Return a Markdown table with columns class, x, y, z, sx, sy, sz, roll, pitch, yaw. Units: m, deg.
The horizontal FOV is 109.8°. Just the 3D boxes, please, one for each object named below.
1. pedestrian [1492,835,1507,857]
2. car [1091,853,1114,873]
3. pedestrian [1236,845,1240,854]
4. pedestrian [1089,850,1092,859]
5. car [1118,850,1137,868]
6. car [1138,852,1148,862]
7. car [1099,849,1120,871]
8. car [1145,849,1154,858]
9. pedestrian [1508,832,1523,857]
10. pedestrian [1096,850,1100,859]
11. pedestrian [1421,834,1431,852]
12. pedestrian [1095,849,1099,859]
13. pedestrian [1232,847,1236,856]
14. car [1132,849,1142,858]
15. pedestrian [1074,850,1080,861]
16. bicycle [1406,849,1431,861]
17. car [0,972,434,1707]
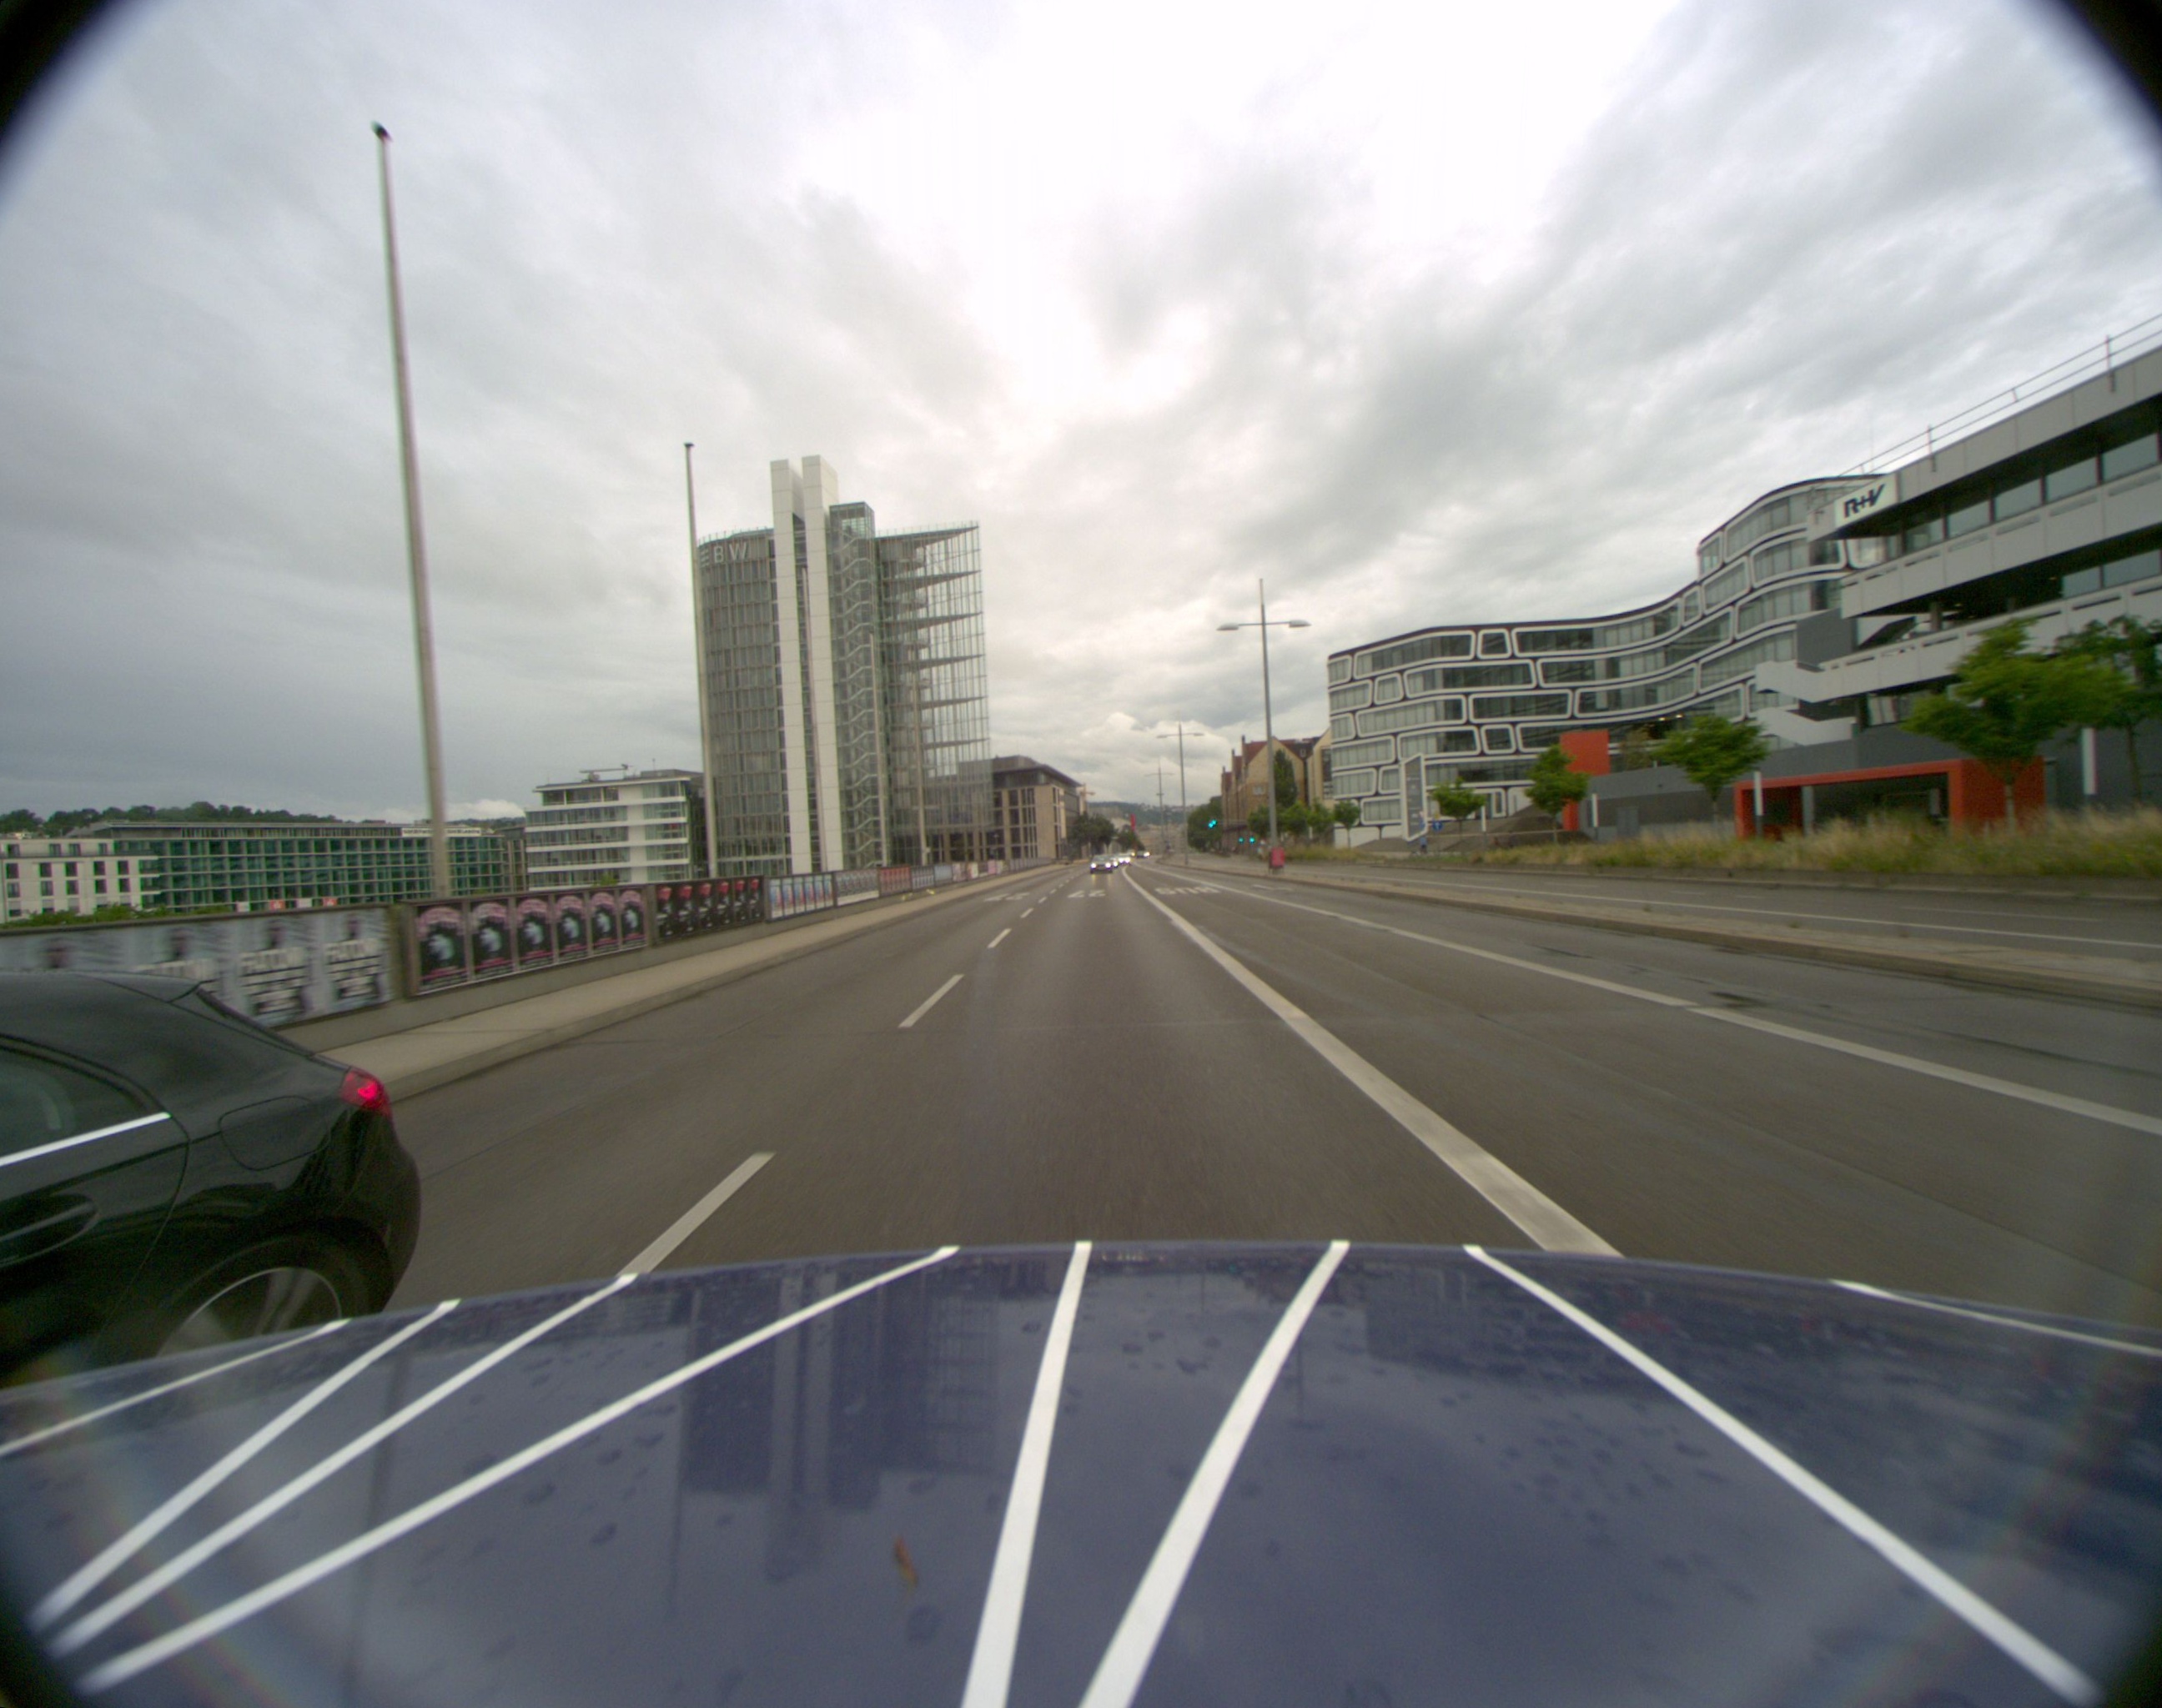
| class | x | y | z | sx | sy | sz | roll | pitch | yaw |
| --- | --- | --- | --- | --- | --- | --- | --- | --- | --- |
| pedestrian | 28.730 | -0.547 | 52.172 | 0.619 | 1.438 | 0.798 | -2 | 1 | 3 |
| car | 1.686 | 0.705 | 59.303 | 1.684 | 1.379 | 3.475 | -2 | 1 | 1 |
| pedestrian | 31.493 | -0.968 | 152.315 | 0.677 | 1.769 | 0.684 | -2 | 2 | 8 |
| pedestrian | 1.617 | 0.059 | 127.293 | 0.461 | 1.590 | 0.656 | -2 | 2 | -4 |
| car | 5.670 | 0.588 | 91.801 | 1.969 | 1.816 | 3.928 | -3 | 3 | 7 |
| car | 13.683 | 0.621 | 168.314 | 1.998 | 2.002 | 3.999 | -2 | 1 | 0 |
| car | 2.839 | 0.583 | 76.906 | 1.998 | 2.002 | 3.999 | -2 | 1 | 0 |
| car | 16.424 | -0.058 | 182.298 | 1.998 | 2.002 | 3.999 | -2 | 1 | 0 |
| pedestrian | 29.850 | -0.666 | 52.188 | 0.619 | 1.648 | 0.798 | -1 | 2 | 3 |
| pedestrian | 2.853 | 0.049 | 128.593 | 0.542 | 1.519 | 0.600 | -2 | 2 | 3 |
| pedestrian | 32.147 | -1.019 | 70.853 | 0.612 | 1.602 | 0.640 | -3 | 1 | 5 |
| pedestrian | 2.729 | 0.032 | 129.638 | 0.728 | 1.761 | 0.783 | -2 | 2 | 0 |
| pedestrian | 30.106 | -0.426 | 149.806 | 0.677 | 1.769 | 0.684 | -2 | 2 | 8 |
| car | 13.779 | -0.051 | 186.952 | 1.998 | 2.002 | 3.999 | -2 | 1 | 0 |
| pedestrian | -0.620 | 0.204 | 110.519 | 0.660 | 1.601 | 0.547 | -3 | 0 | 8 |
| bicycle | 25.650 | 0.073 | 57.719 | 0.610 | 0.852 | 1.653 | -3 | 1 | -32 |
| car | -2.916 | 1.108 | 0.253 | 1.727 | 1.368 | 4.154 | -2 | 1 | 1 |
